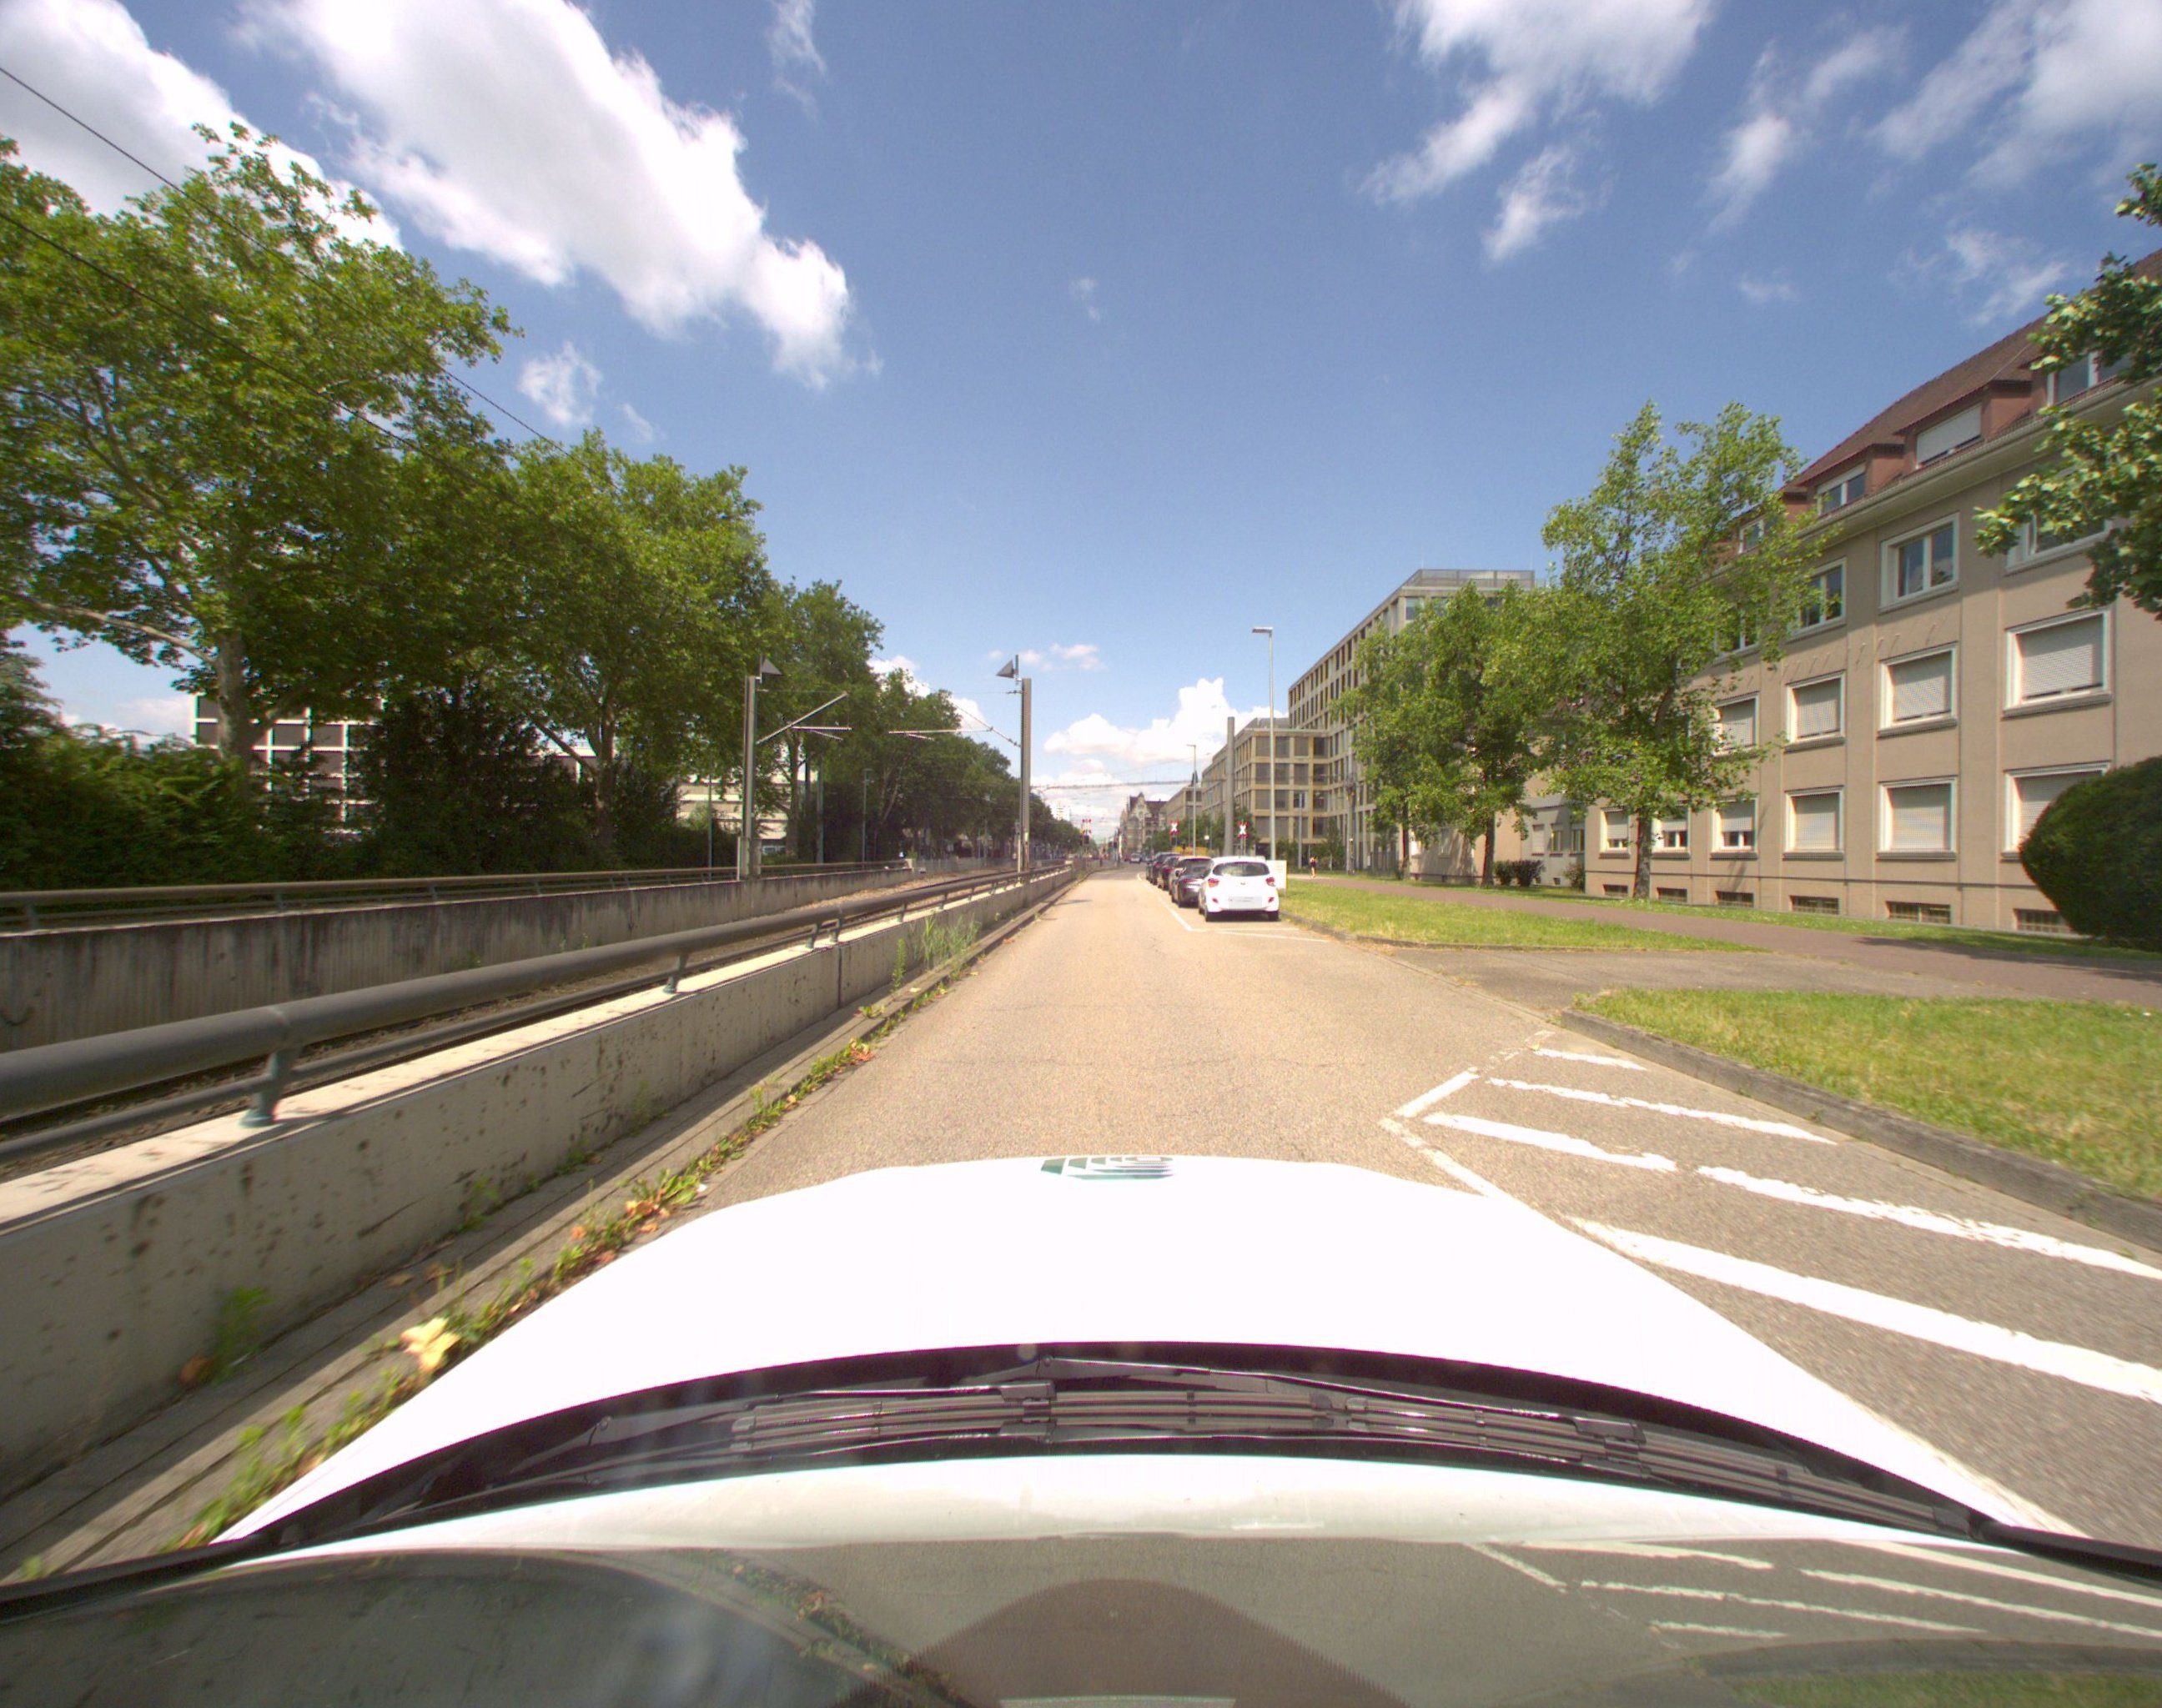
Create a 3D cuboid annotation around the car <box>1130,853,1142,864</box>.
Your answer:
[{"bbox_3d":[9.752,0.793,144.406,1.862,1.746,4.001,2,0,1],"label":"car"}]

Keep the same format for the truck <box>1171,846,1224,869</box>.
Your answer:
[{"bbox_3d":[15.521,0.498,108.687,6.785,2.867,2.453,1,-1,-1],"label":"truck"}]

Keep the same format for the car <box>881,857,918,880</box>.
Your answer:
[{"bbox_3d":[-13.418,1.064,60.424,1.661,1.597,4.300,0,0,2],"label":"car"}]

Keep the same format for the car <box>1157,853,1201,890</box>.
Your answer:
[{"bbox_3d":[4.284,0.739,35.995,1.637,1.530,4.446,0,0,3],"label":"car"}]

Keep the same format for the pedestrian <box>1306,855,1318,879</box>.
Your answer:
[{"bbox_3d":[15.559,0.857,54.867,0.620,1.608,0.624,-1,-1,-1],"label":"pedestrian"}]

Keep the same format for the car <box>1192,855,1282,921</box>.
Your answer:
[{"bbox_3d":[3.771,0.774,20.227,1.700,1.479,3.792,0,0,3],"label":"car"}]

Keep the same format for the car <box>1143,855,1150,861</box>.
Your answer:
[{"bbox_3d":[16.461,1.100,204.971,1.586,1.434,4.106,3,0,0],"label":"car"}]

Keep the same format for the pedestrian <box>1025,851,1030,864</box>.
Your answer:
[{"bbox_3d":[-7.545,0.487,115.251,0.704,1.845,0.864,-1,-1,1],"label":"pedestrian"}]

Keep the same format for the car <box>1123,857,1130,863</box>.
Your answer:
[{"bbox_3d":[10.957,1.376,195.952,1.438,1.470,4.092,-1,0,0],"label":"car"}]

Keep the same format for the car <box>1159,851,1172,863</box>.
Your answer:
[{"bbox_3d":[14.458,0.506,140.098,1.875,1.939,4.845,0,0,2],"label":"car"}]

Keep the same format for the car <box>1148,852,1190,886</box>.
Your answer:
[{"bbox_3d":[4.499,0.728,42.148,1.809,1.662,4.672,0,0,2],"label":"car"}]

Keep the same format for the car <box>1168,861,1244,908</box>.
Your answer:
[{"bbox_3d":[3.752,0.867,25.131,1.817,1.312,4.444,0,0,2],"label":"car"}]

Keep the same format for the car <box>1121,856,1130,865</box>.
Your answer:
[{"bbox_3d":[10.650,1.572,195.660,1.986,2.014,4.002,-1,-1,2],"label":"car"}]

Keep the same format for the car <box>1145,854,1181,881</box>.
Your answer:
[{"bbox_3d":[4.846,0.769,48.817,1.809,1.454,4.992,0,0,2],"label":"car"}]

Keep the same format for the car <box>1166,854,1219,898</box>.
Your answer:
[{"bbox_3d":[4.044,0.772,29.955,1.662,1.515,3.854,-1,0,3],"label":"car"}]

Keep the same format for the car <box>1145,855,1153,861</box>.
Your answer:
[{"bbox_3d":[16.158,1.011,193.775,1.585,1.460,3.615,2,0,3],"label":"car"}]
